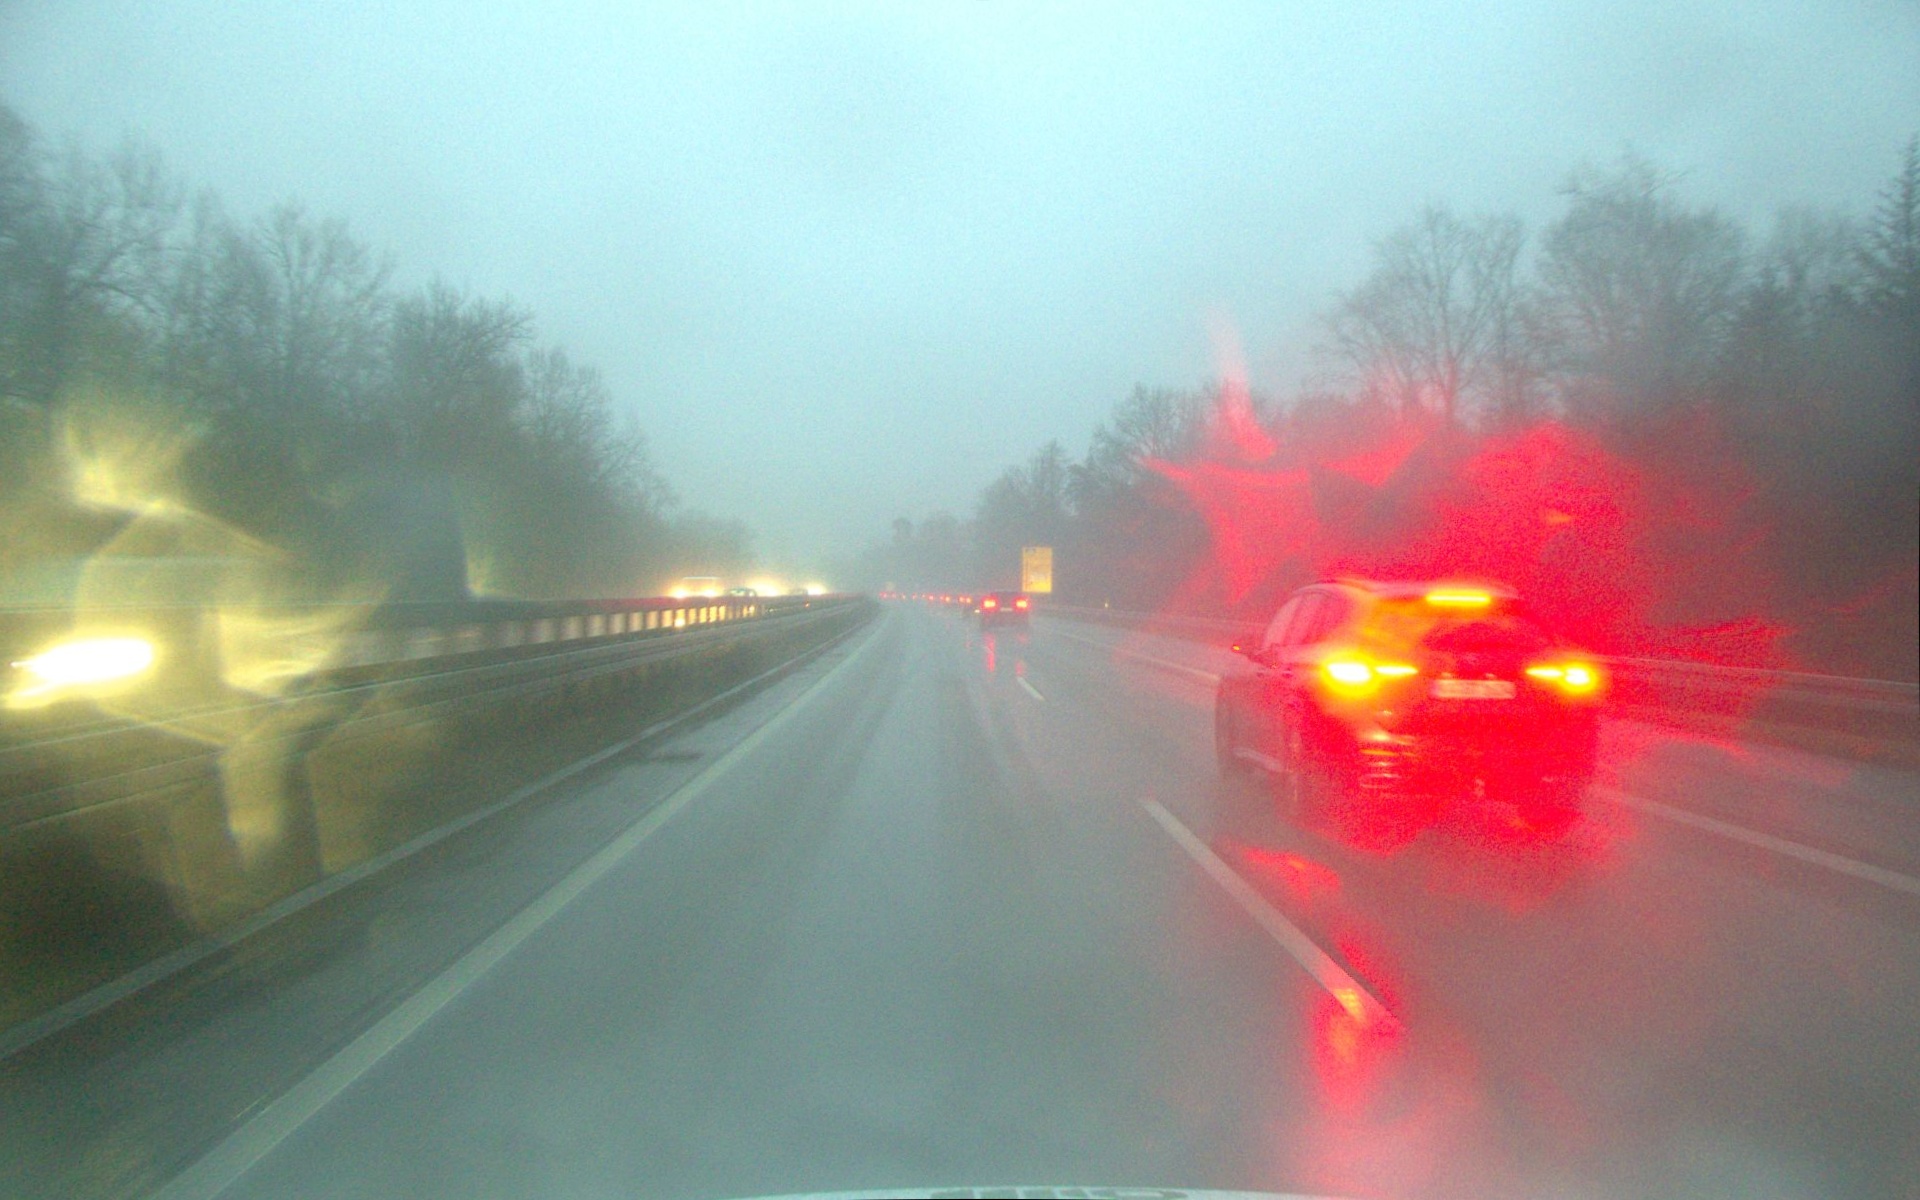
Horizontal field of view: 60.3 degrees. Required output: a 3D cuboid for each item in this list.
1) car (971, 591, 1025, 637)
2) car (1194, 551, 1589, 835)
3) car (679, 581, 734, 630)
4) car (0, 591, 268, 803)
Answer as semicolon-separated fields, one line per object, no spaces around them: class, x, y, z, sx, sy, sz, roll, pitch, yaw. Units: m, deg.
car;1.457;0.555;65.434;1.951;1.745;3.829;1;0;-1
car;3.087;0.613;12.715;1.885;1.823;3.939;1;0;-2
car;-12.609;0.267;82.614;1.990;2.357;5.459;1;0;-1
car;-7.120;0.650;13.001;1.511;1.420;4.123;1;0;1
